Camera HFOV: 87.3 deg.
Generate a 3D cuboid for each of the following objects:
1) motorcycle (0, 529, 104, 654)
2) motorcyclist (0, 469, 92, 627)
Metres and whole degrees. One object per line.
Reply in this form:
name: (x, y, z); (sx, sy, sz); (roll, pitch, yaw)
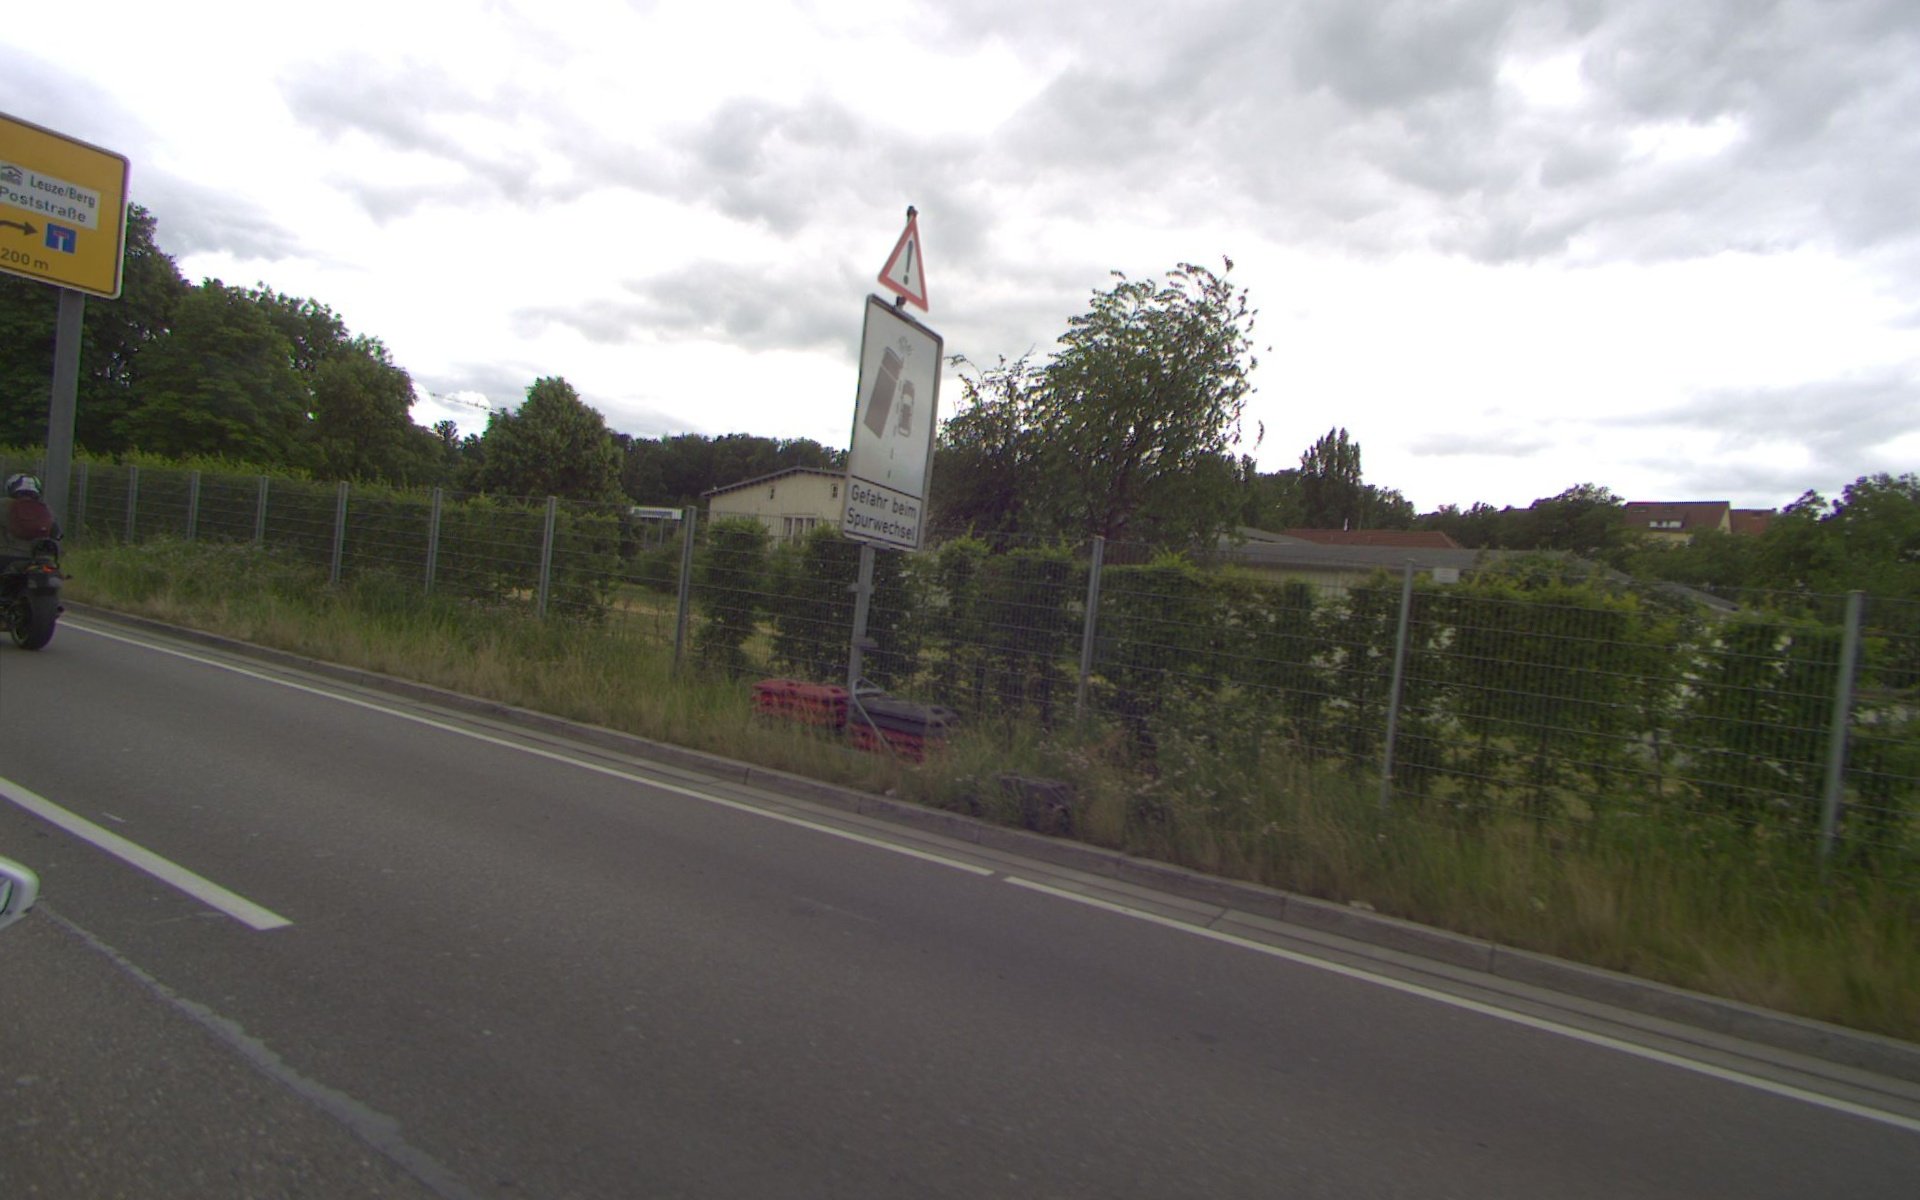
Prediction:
motorcycle: (-9.831, -0.155, 10.235); (2.618, 1.097, 0.745); (6, 1, 28)
motorcyclist: (-9.588, -0.542, 10.124); (0.950, 1.495, 0.914); (7, 0, 29)
